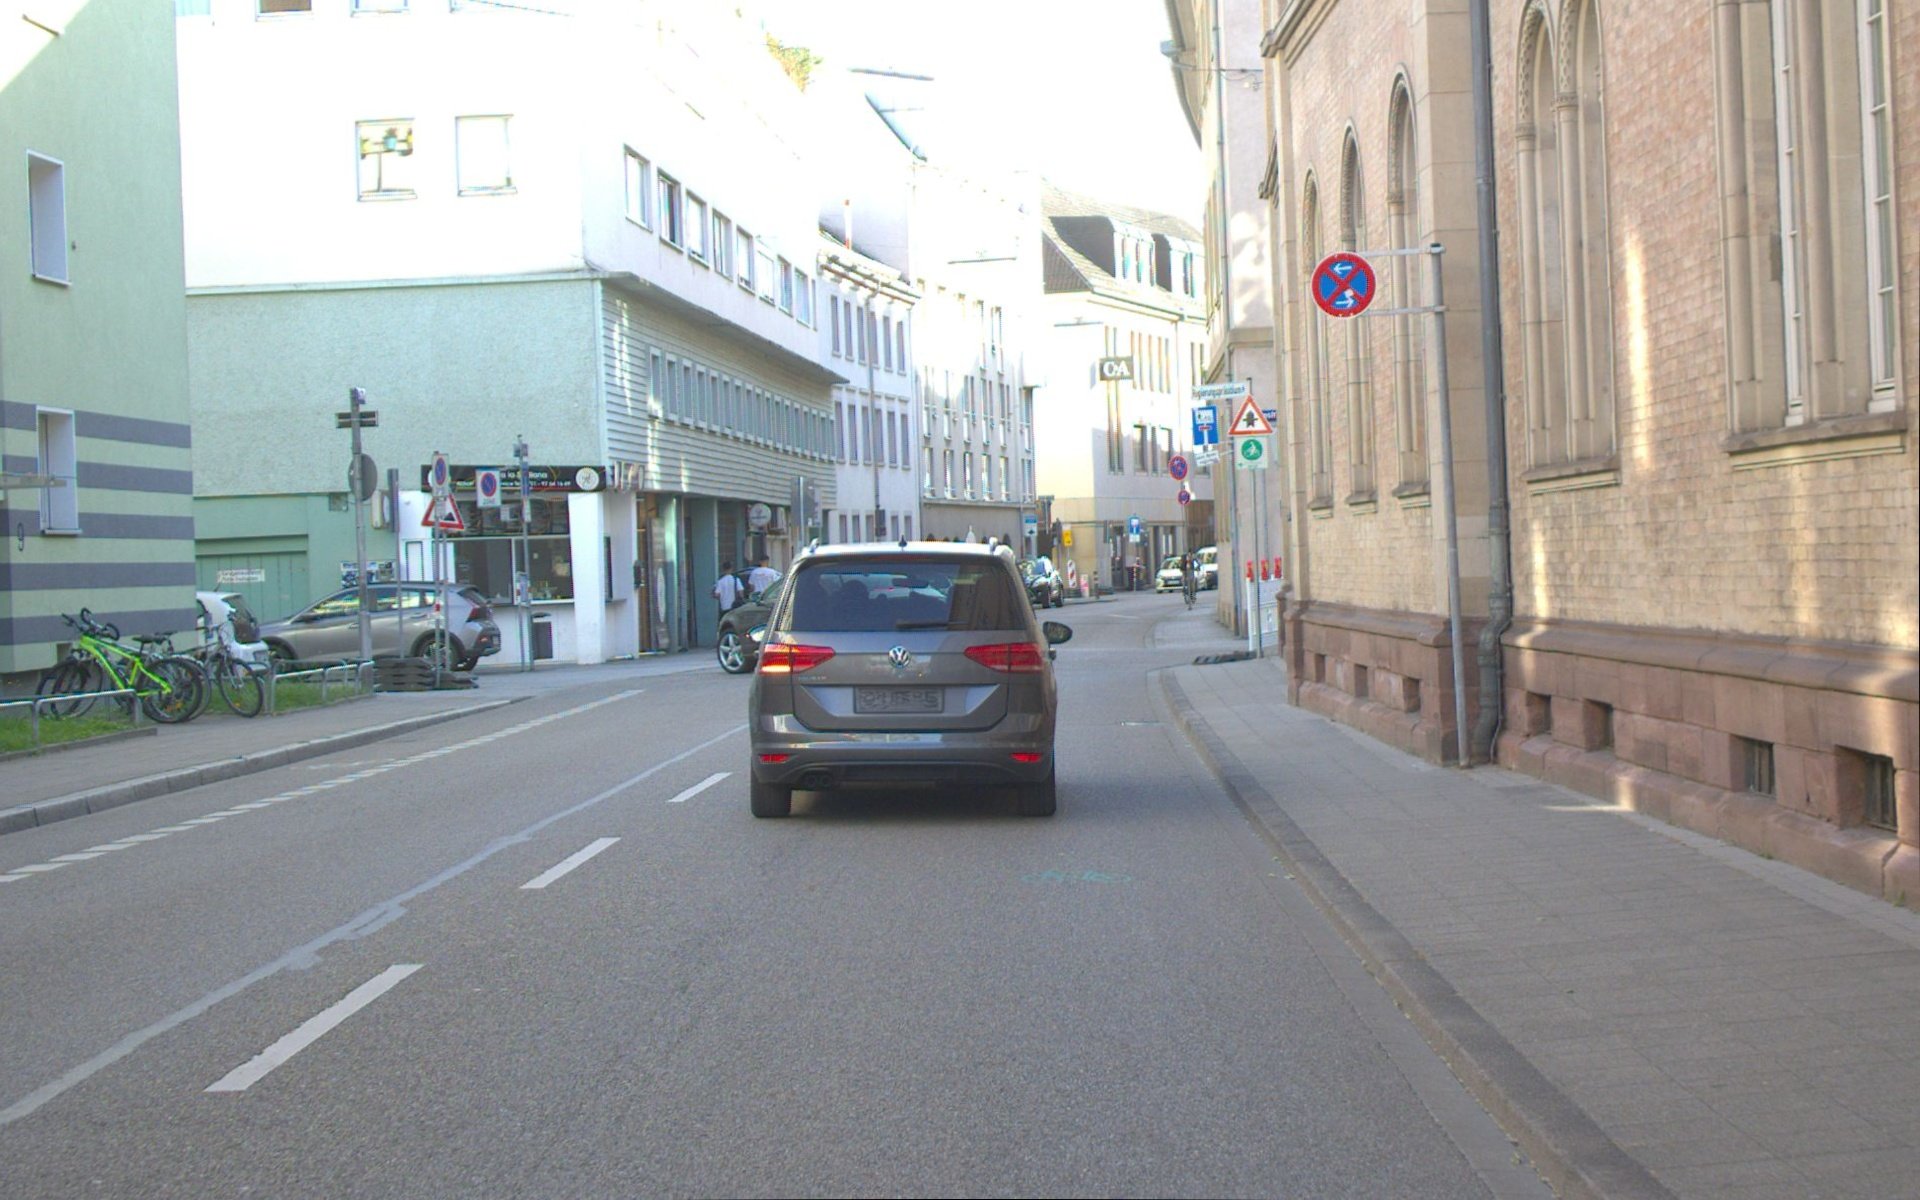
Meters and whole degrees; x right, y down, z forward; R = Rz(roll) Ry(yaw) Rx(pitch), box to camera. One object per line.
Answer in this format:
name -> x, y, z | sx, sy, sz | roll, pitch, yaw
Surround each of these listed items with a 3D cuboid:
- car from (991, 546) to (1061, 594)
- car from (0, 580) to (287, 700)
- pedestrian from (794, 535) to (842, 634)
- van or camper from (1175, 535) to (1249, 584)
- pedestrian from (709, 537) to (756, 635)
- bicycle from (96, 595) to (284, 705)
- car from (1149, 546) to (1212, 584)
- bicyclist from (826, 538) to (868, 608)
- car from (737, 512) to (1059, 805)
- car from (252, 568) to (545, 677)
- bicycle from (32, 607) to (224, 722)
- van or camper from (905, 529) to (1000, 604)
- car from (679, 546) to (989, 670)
car -> 2.196, -1.010, 112.914 | 1.866, 1.463, 3.833 | -2, 1, 7
car -> -11.321, 0.546, 47.618 | 3.501, 1.438, 1.813 | -3, 1, 4
pedestrian -> -2.675, -0.298, 64.652 | 0.556, 1.823, 0.730 | -2, 1, 26
van or camper -> 10.928, -1.767, 148.541 | 1.995, 2.007, 4.994 | -2, 1, 18
pedestrian -> -4.341, -0.268, 65.606 | 0.556, 1.823, 0.730 | -2, 1, 26
bicycle -> -8.360, 0.544, 37.369 | 1.928, 1.175, 0.613 | 0, 0, -6
car -> 9.197, -1.471, 142.882 | 1.735, 1.463, 3.997 | -2, 1, 16
bicyclist -> -2.552, -0.618, 77.736 | 0.831, 1.556, 0.759 | -2, 1, 2
car -> -0.312, 0.292, 20.959 | 1.762, 1.601, 4.000 | 0, 1, 1
car -> -8.683, 0.343, 53.378 | 4.098, 1.438, 1.947 | -3, 1, 4
bicycle -> -8.681, 0.667, 35.911 | 1.928, 1.175, 0.614 | 0, 0, -13
van or camper -> -0.192, -0.963, 96.820 | 1.994, 2.007, 4.482 | -2, 1, 8
car -> -1.778, 0.114, 46.884 | 1.994, 1.536, 4.628 | -3, 1, -35
